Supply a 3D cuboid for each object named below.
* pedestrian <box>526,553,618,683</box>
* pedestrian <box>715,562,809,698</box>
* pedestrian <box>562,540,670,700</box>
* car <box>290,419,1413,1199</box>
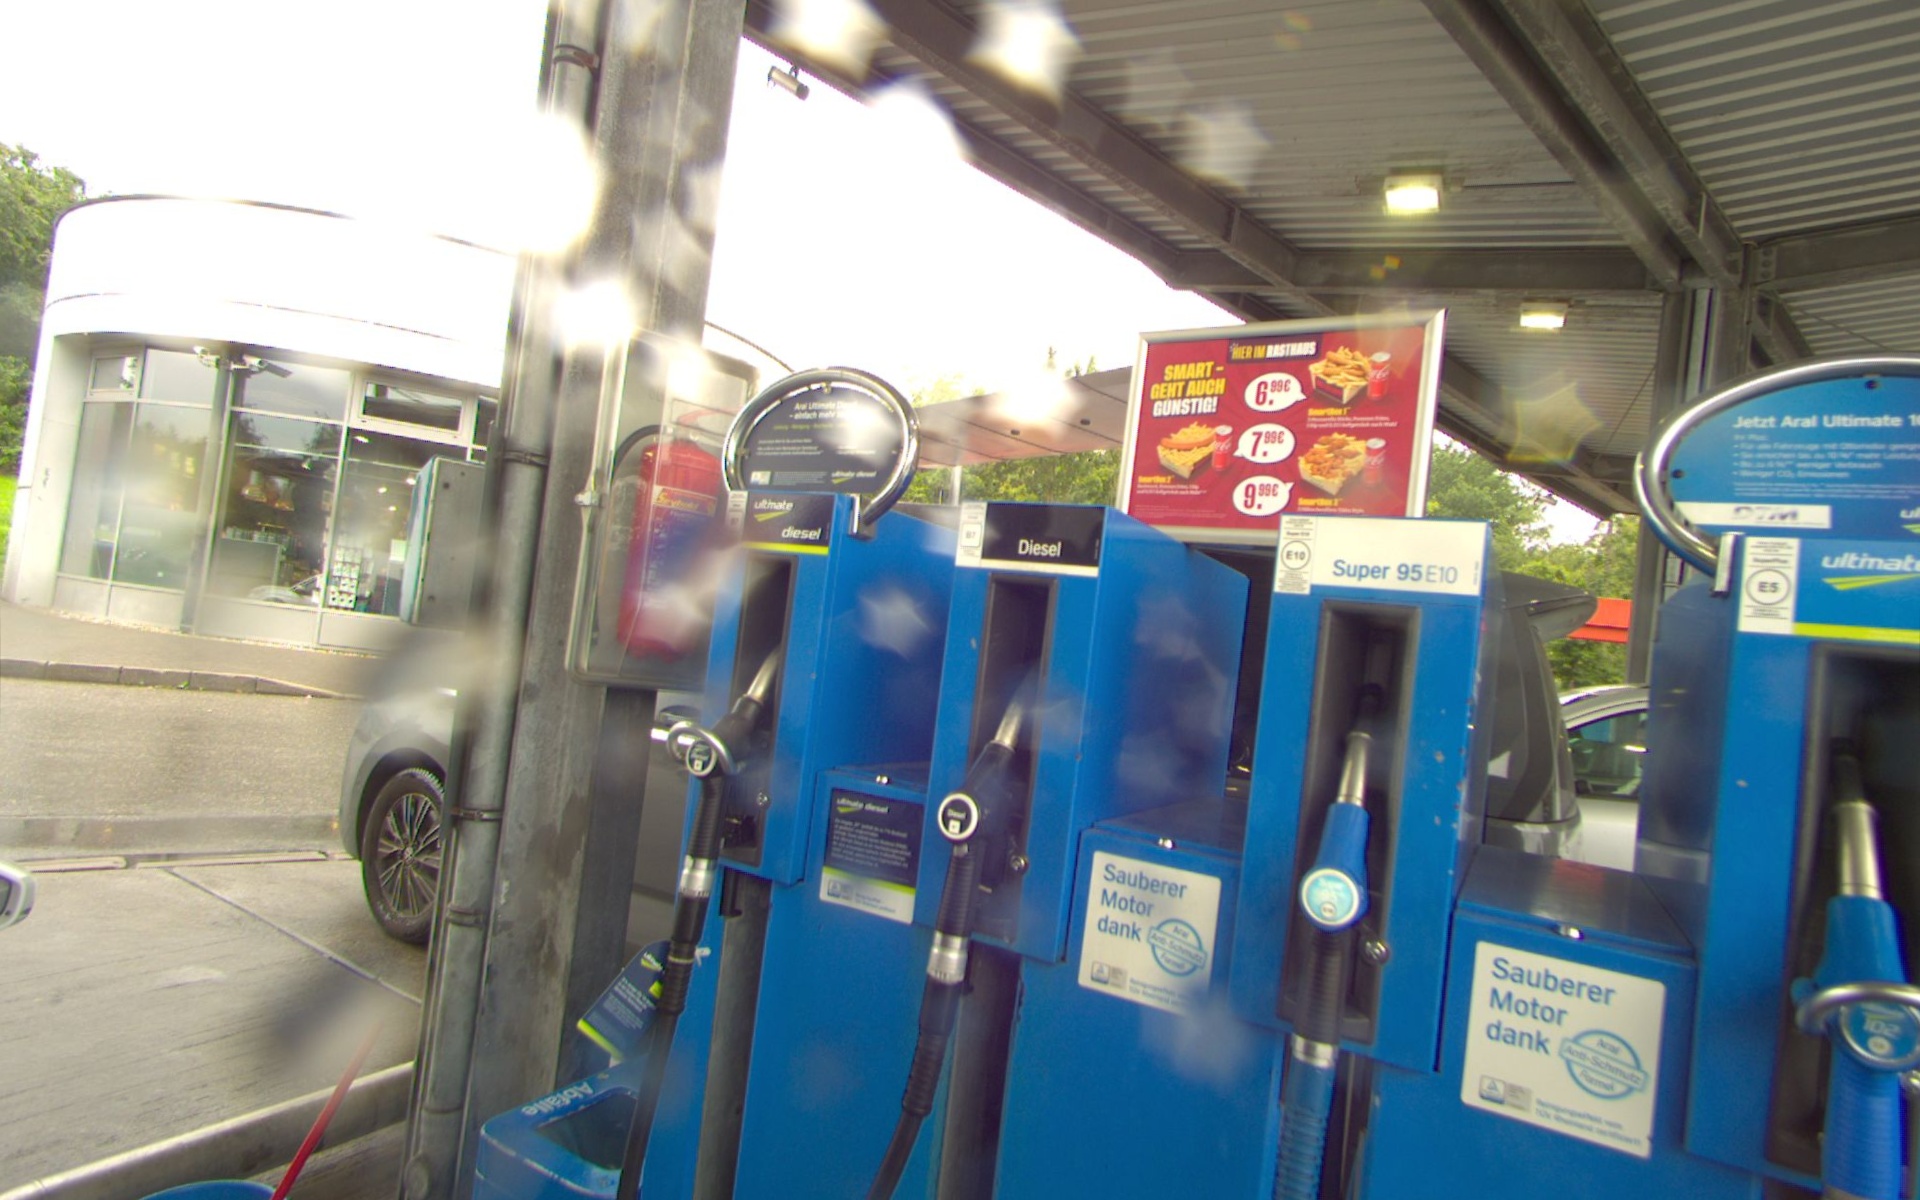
[{"bbox_3d":[-5.065,0.230,13.115,0.882,1.569,0.655,7,0,-29],"label":"pedestrian"},{"bbox_3d":[-2.973,0.442,15.062,0.990,1.887,0.793,7,0,-30],"label":"pedestrian"},{"bbox_3d":[-4.330,0.248,12.644,0.965,1.871,0.767,7,0,-30],"label":"pedestrian"},{"bbox_3d":[-0.571,0.504,3.975,3.934,1.971,1.819,7,-1,32],"label":"car"}]
